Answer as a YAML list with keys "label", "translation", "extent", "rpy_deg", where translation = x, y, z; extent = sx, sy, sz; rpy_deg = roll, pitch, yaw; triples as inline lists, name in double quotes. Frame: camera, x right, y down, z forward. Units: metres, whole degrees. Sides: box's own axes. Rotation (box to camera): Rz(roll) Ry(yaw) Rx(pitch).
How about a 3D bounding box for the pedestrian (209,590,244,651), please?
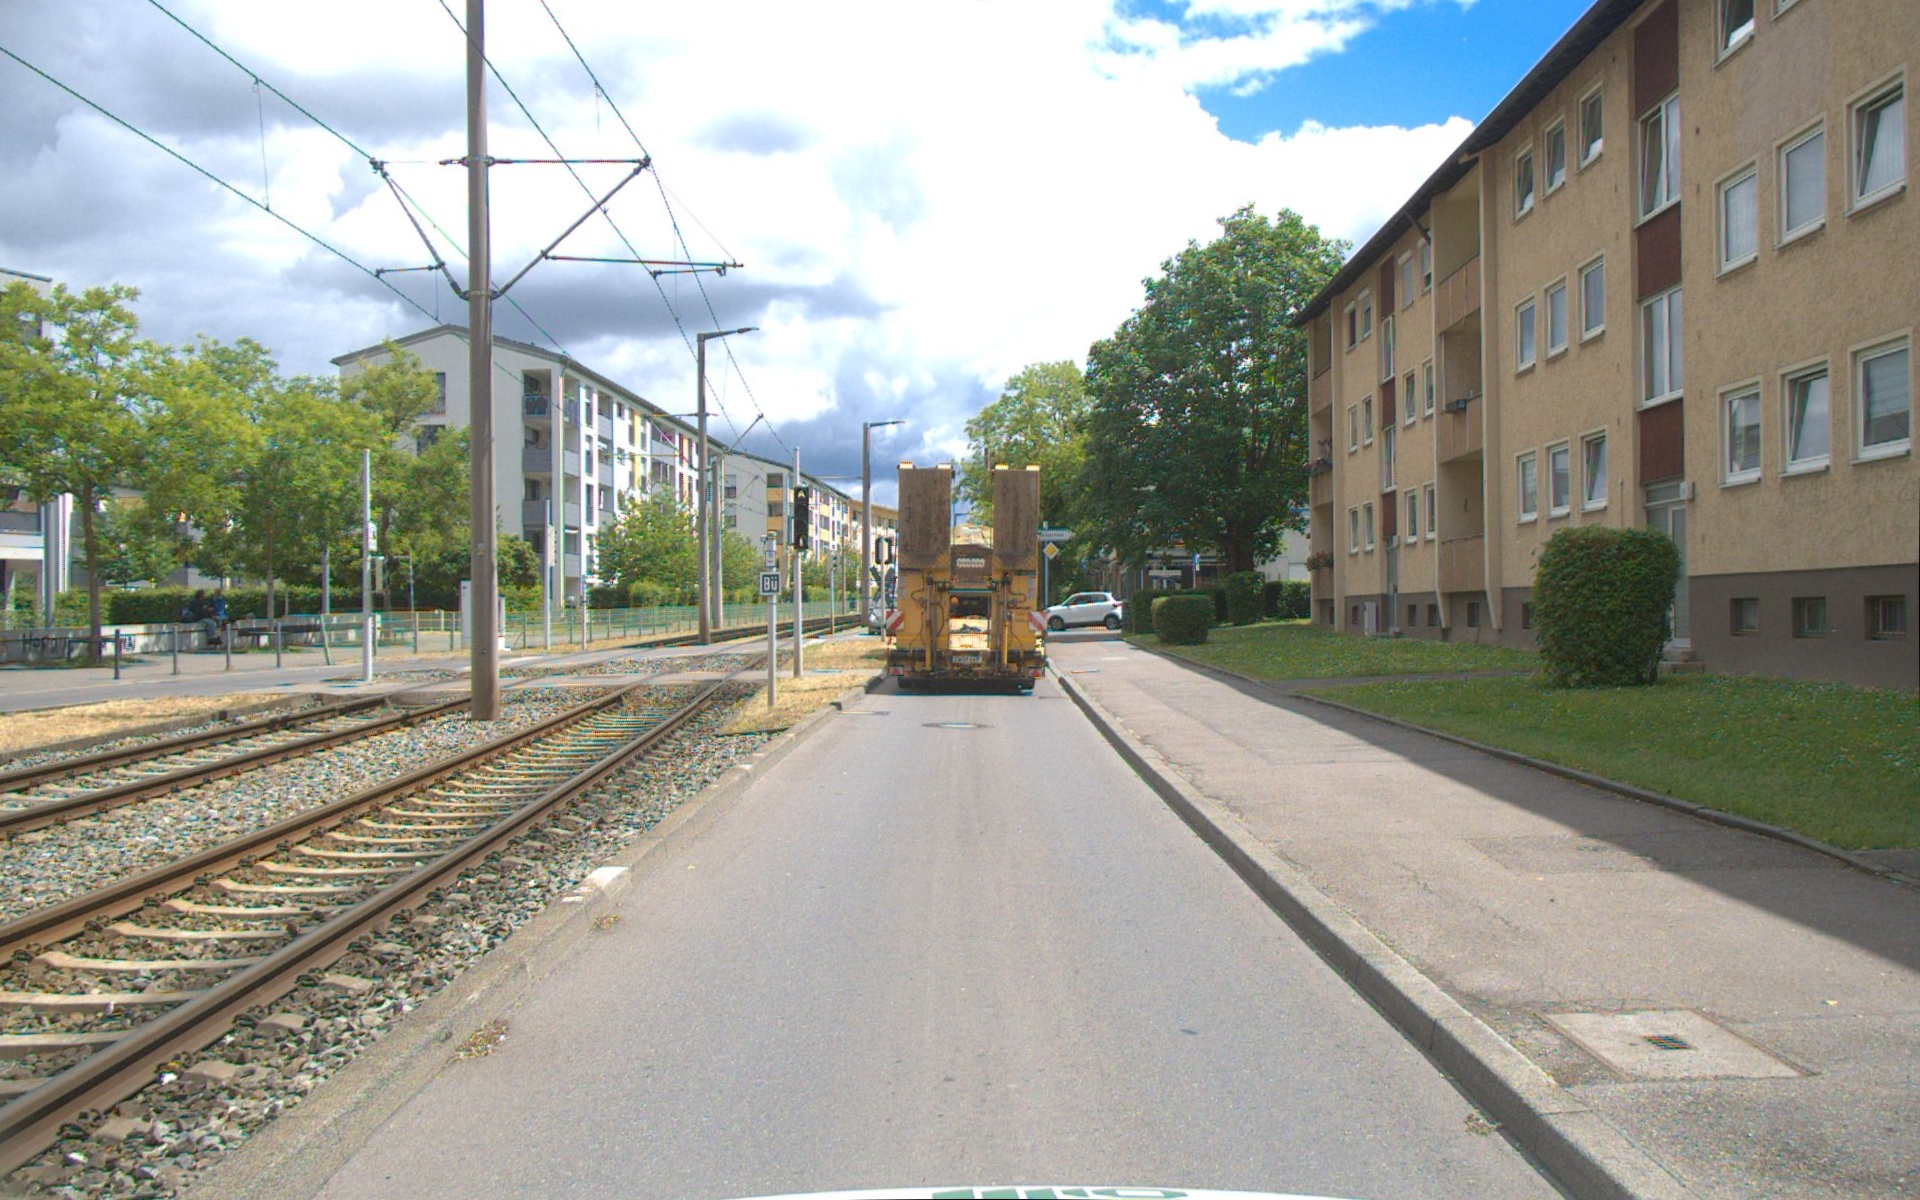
- label: "pedestrian"
  translation: [-19.580, 0.549, 44.146]
  extent: [0.609, 1.600, 0.558]
  rpy_deg: [-2, 1, 6]

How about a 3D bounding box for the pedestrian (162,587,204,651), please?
- label: "pedestrian"
  translation: [-19.771, 0.484, 42.108]
  extent: [0.609, 1.600, 0.699]
  rpy_deg: [-2, 1, 12]

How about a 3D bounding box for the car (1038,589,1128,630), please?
- label: "car"
  translation: [5.223, 0.397, 70.084]
  extent: [3.521, 1.612, 2.002]
  rpy_deg: [-2, -1, 13]

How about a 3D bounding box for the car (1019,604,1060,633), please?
- label: "car"
  translation: [4.269, 0.977, 89.251]
  extent: [1.953, 1.411, 4.000]
  rpy_deg: [-2, 1, 0]

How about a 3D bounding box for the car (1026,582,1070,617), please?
- label: "car"
  translation: [4.460, -0.059, 84.274]
  extent: [1.953, 1.646, 4.000]
  rpy_deg: [-2, 1, 0]

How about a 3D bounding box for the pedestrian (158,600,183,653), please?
- label: "pedestrian"
  translation: [-19.757, 0.654, 41.372]
  extent: [0.493, 1.289, 0.496]
  rpy_deg: [-2, 1, -23]

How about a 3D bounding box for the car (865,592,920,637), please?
- label: "car"
  translation: [-2.651, 0.577, 65.698]
  extent: [1.764, 1.681, 4.133]
  rpy_deg: [-2, -1, 3]

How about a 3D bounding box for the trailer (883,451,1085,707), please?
- label: "trailer"
  translation: [0.210, -0.426, 31.280]
  extent: [2.989, 3.838, 11.609]
  rpy_deg: [-2, 1, -2]

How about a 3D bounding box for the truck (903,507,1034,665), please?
- label: "truck"
  translation: [0.074, -0.378, 40.534]
  extent: [2.776, 3.388, 7.982]
  rpy_deg: [-2, 1, -2]

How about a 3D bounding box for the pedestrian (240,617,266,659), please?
- label: "pedestrian"
  translation: [-22.049, 1.179, 51.581]
  extent: [0.533, 1.268, 0.458]
  rpy_deg: [-2, 1, 21]

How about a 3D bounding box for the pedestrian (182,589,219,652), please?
- label: "pedestrian"
  translation: [-19.733, 0.519, 42.979]
  extent: [0.609, 1.600, 0.558]
  rpy_deg: [-2, 1, 12]
